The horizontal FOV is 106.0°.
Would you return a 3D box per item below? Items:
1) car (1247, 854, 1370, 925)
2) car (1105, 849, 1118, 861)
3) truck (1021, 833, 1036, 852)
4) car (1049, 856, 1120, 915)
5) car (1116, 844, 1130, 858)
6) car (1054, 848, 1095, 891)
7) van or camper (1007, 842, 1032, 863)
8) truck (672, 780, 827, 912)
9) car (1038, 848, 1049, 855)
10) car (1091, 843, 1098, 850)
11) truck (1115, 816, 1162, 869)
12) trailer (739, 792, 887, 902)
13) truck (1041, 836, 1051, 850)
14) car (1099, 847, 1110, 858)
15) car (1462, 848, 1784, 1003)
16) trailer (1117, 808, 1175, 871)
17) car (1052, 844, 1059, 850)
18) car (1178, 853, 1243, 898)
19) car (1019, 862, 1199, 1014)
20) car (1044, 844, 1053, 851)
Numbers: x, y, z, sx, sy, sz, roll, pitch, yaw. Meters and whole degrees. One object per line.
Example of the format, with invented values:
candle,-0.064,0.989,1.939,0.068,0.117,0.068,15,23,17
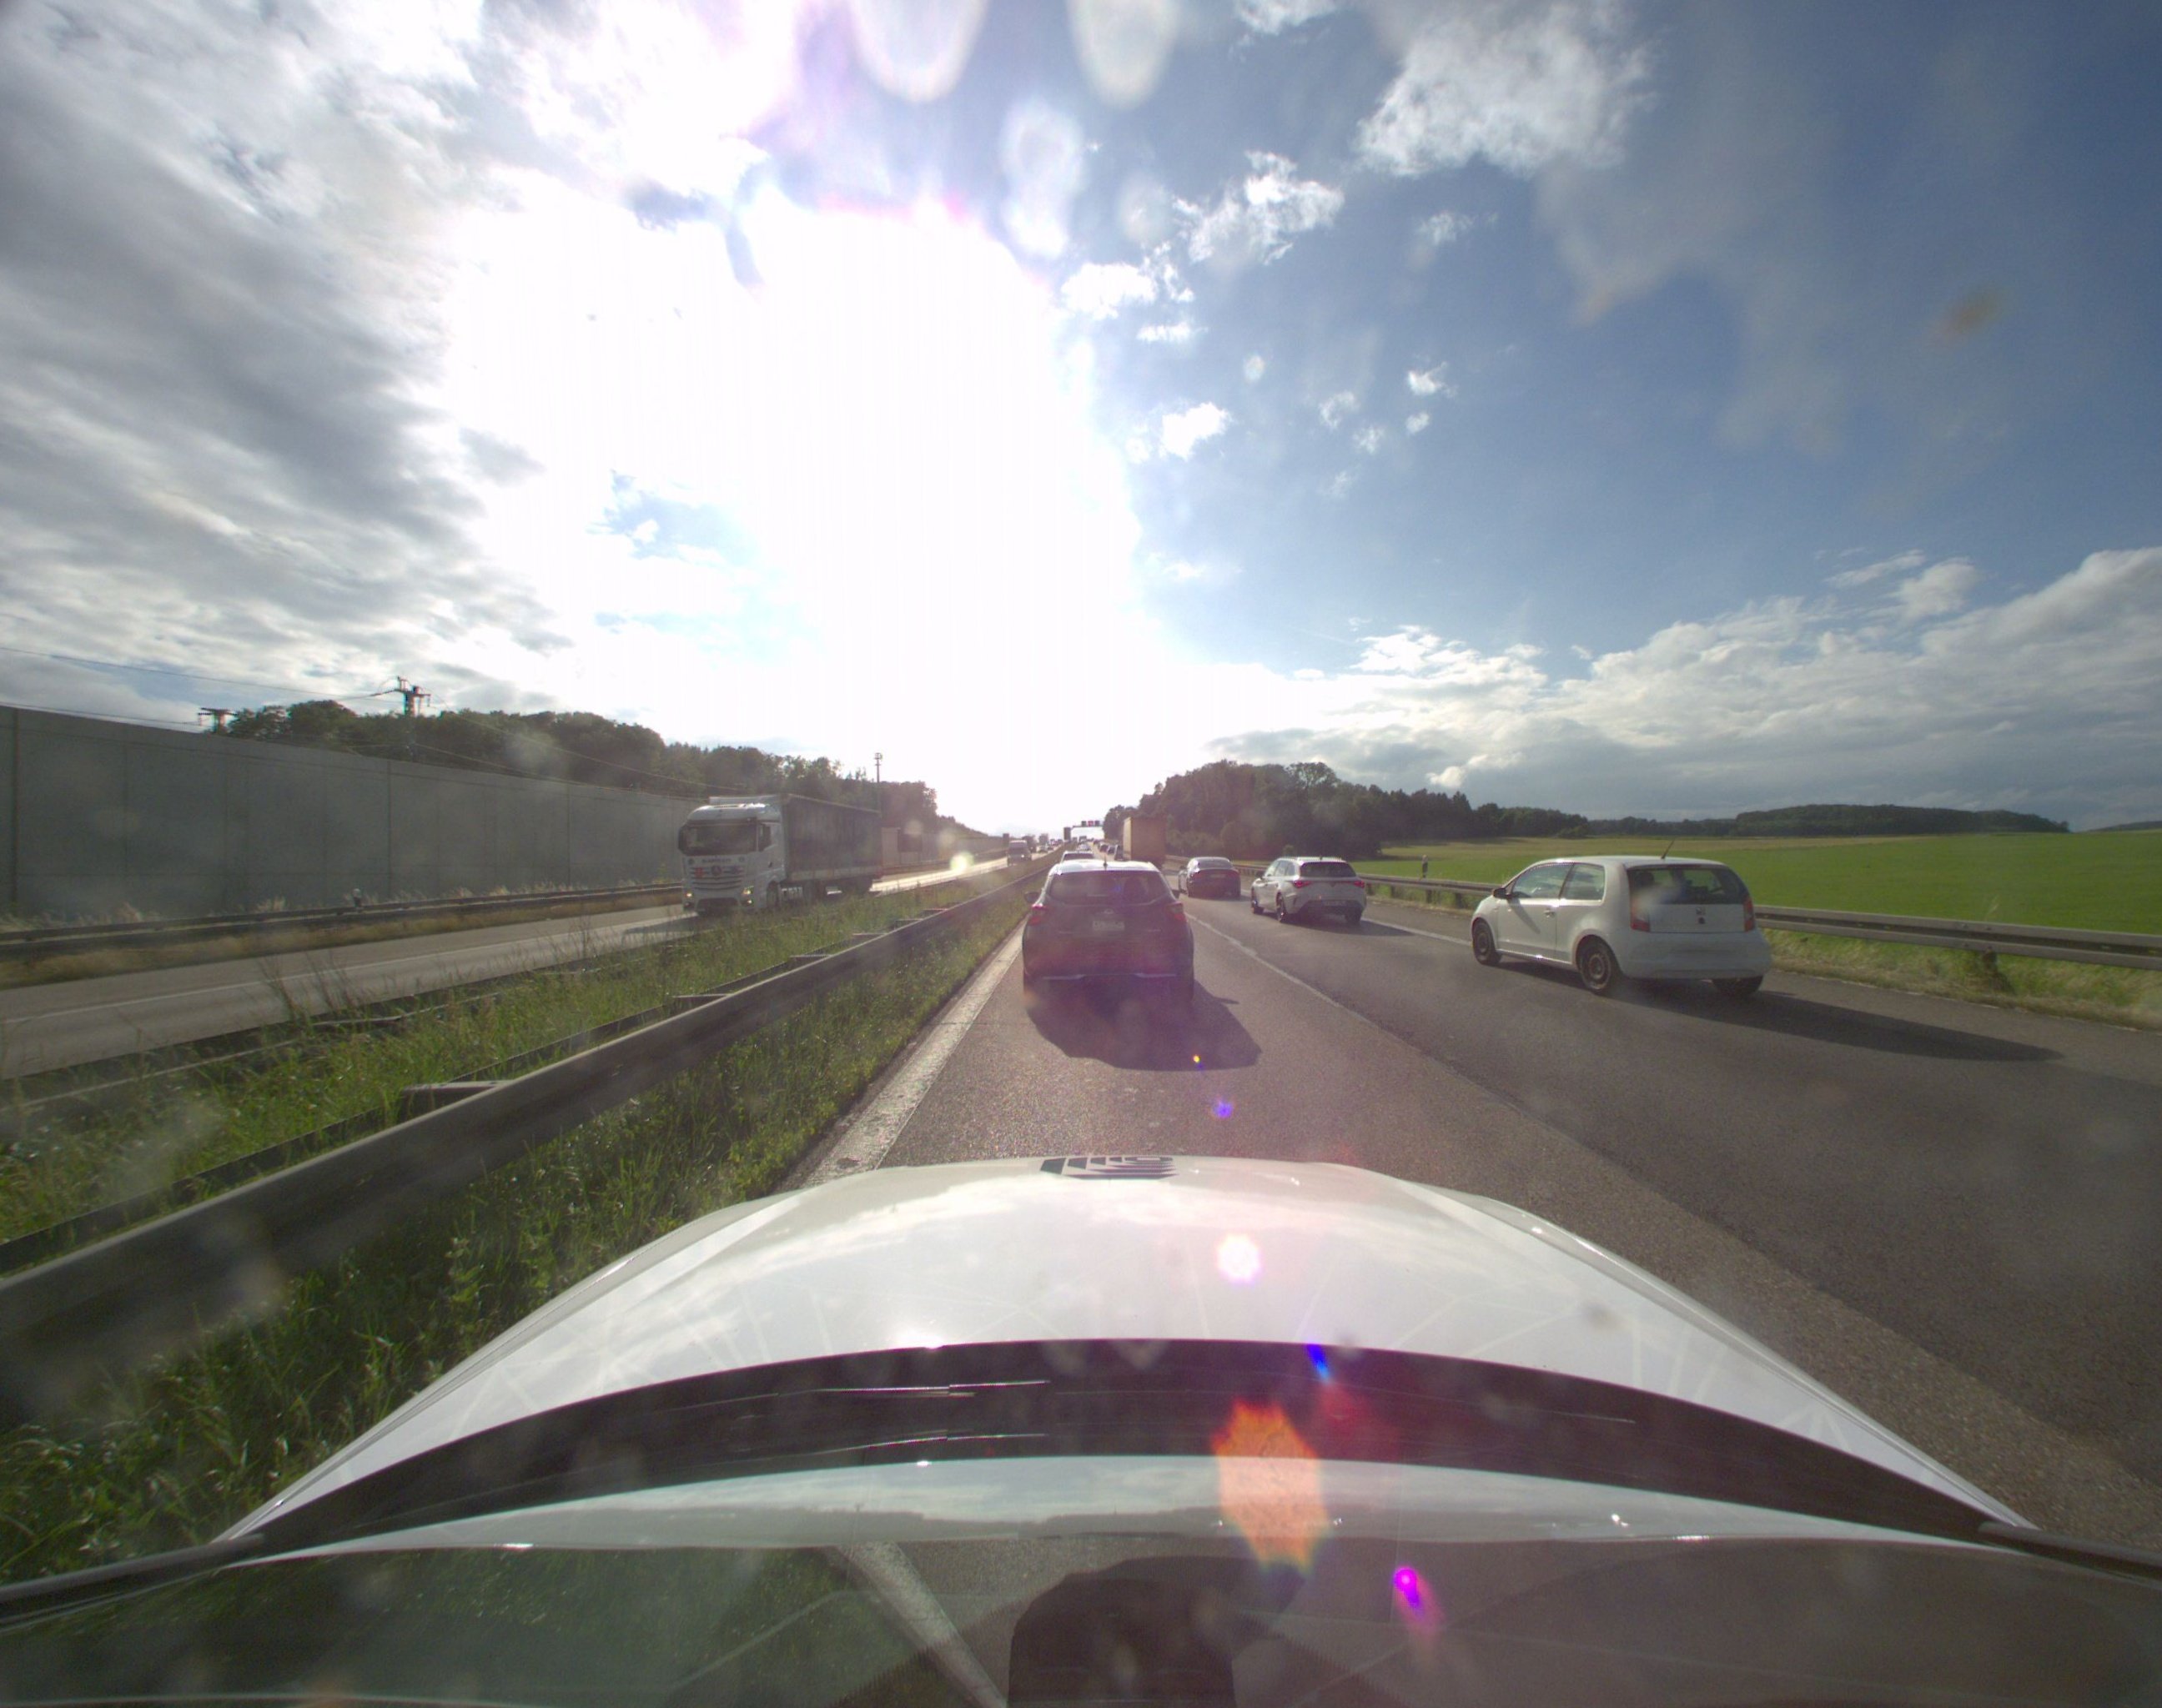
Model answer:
car,5.099,0.742,18.820,1.616,1.445,4.144,0,-1,-1
car,5.291,0.119,141.757,1.987,2.014,3.998,0,-1,-1
truck,-10.902,-2.319,170.547,2.544,3.798,5.417,-3,-1,1
car,0.118,0.762,20.911,1.668,1.367,3.597,-1,-1,1
car,5.329,-0.384,103.170,1.661,1.755,3.328,0,-1,2
car,-0.232,0.646,35.244,1.668,1.726,3.597,-1,-1,1
van or camper,-6.859,-0.133,92.129,2.158,2.205,6.260,0,-1,2
truck,-11.363,-0.219,28.752,2.629,4.098,7.000,0,-1,0
car,-7.408,-0.492,160.925,1.986,1.486,4.399,0,-1,1
car,3.841,-2.143,229.349,1.987,2.014,3.998,0,-1,-1
truck,4.923,-0.944,71.406,3.571,4.380,6.686,0,-1,-1
trailer,-11.407,-0.204,36.420,2.646,4.081,12.392,0,-1,-1
truck,-10.735,-3.266,249.638,2.745,4.090,6.952,-1,-1,0
car,4.667,-0.275,160.095,1.987,2.014,3.998,0,-1,-1
car,6.101,0.685,9.659,1.544,1.495,3.376,0,0,-1
trailer,4.936,-0.991,64.716,3.538,4.457,12.718,0,-1,0
car,-7.364,-2.076,236.983,1.853,1.834,4.281,0,-1,1
car,4.563,0.733,29.277,1.741,1.475,4.147,-1,-1,1
car,0.322,0.819,9.446,1.703,1.426,3.379,-1,-1,2
car,-7.458,-1.403,186.954,1.797,1.516,4.691,0,-1,1
